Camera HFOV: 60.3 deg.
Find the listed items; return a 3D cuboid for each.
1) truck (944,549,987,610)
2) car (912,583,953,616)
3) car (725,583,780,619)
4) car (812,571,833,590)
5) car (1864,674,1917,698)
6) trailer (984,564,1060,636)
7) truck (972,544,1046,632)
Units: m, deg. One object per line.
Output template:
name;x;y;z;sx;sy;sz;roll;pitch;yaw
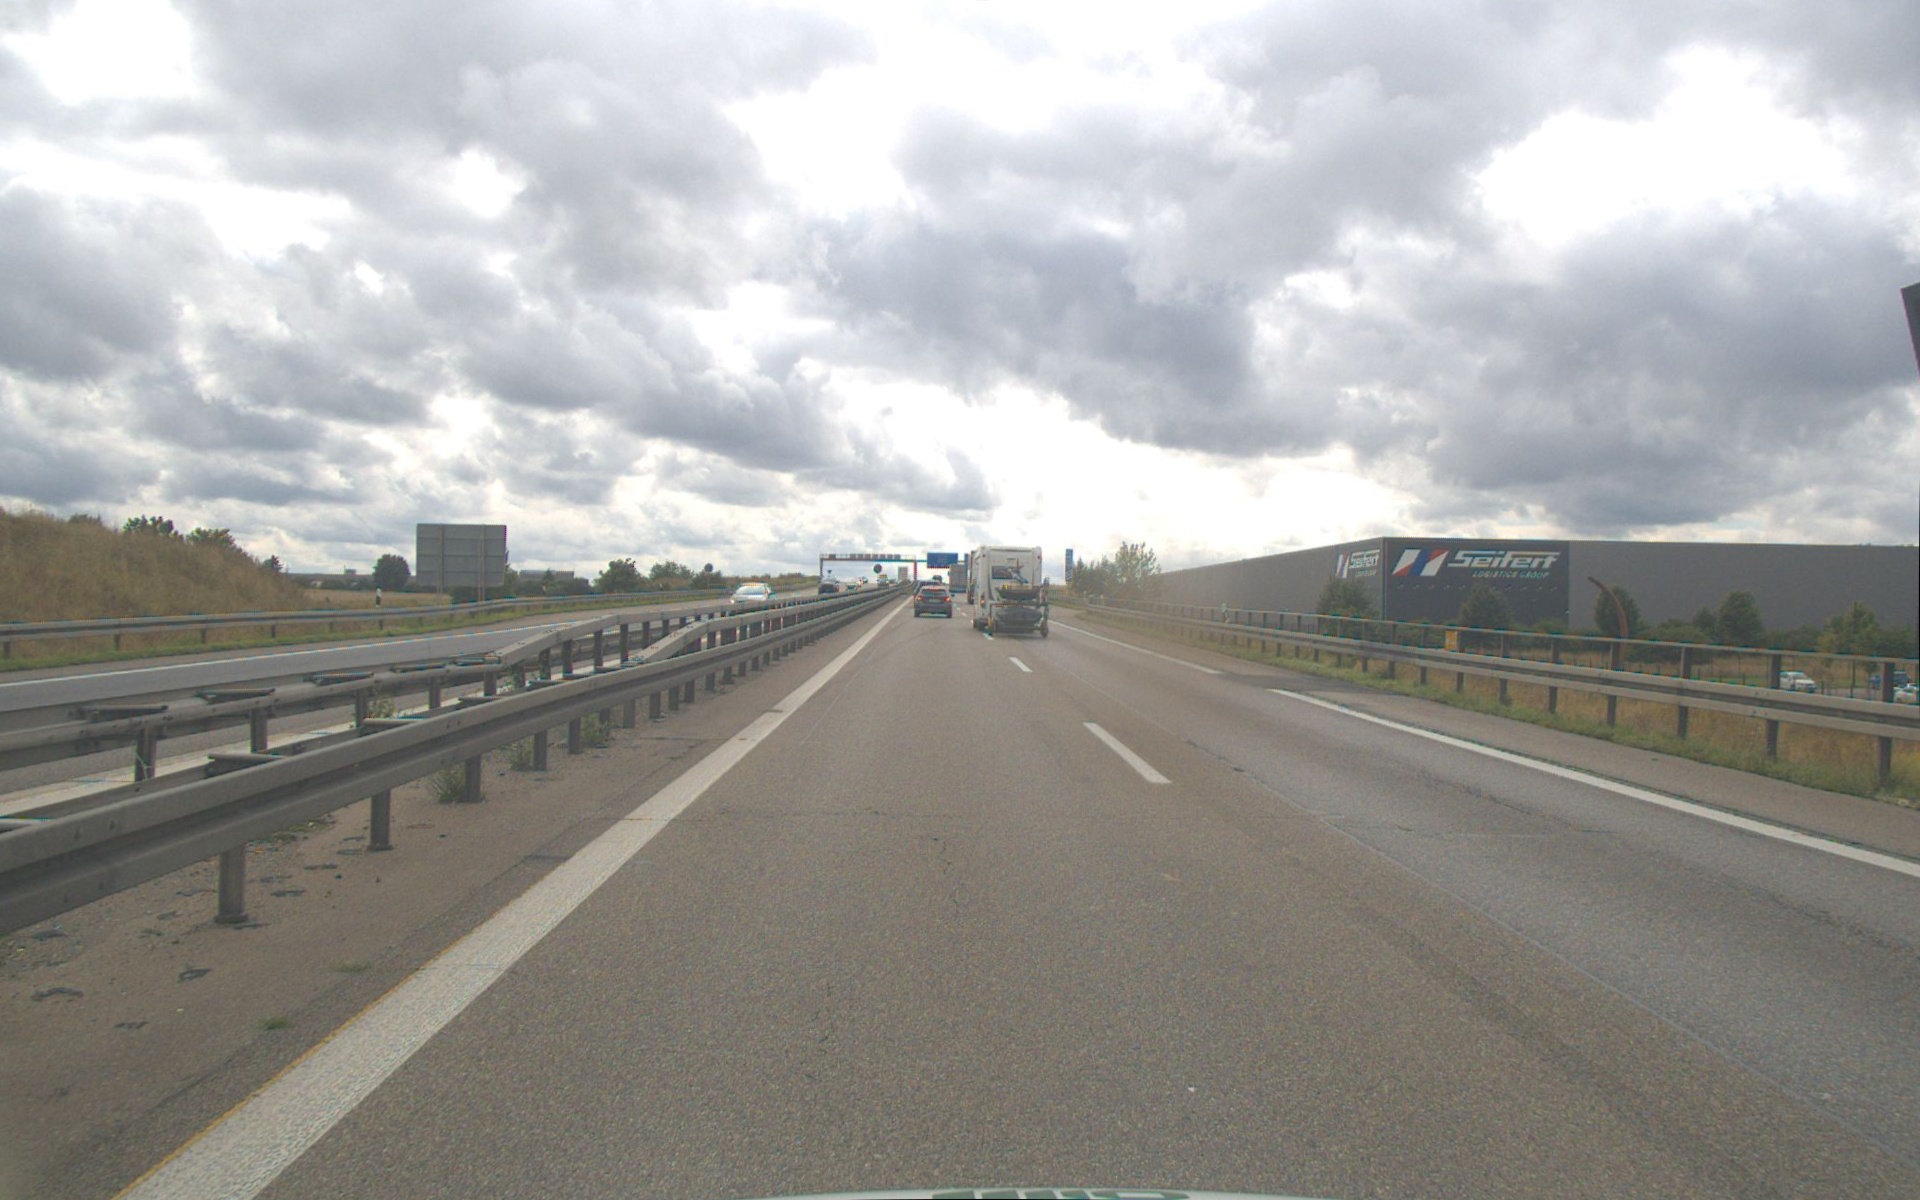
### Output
truck;0.377;-1.518;128.683;3.271;4.614;8.015;0;-1;-1
car;-1.281;-0.010;78.043;1.710;1.478;4.001;0;0;2
car;-9.034;0.059;72.280;1.868;1.539;4.728;0;0;-1
car;-15.180;-2.116;182.894;1.953;2.049;6.101;0;1;-1
car;71.201;6.540;126.602;1.641;1.520;3.999;2;0;-1
trailer;1.938;0.007;52.439;2.290;2.174;4.001;0;0;1
truck;1.704;-0.399;59.548;2.431;3.002;5.814;0;0;0
